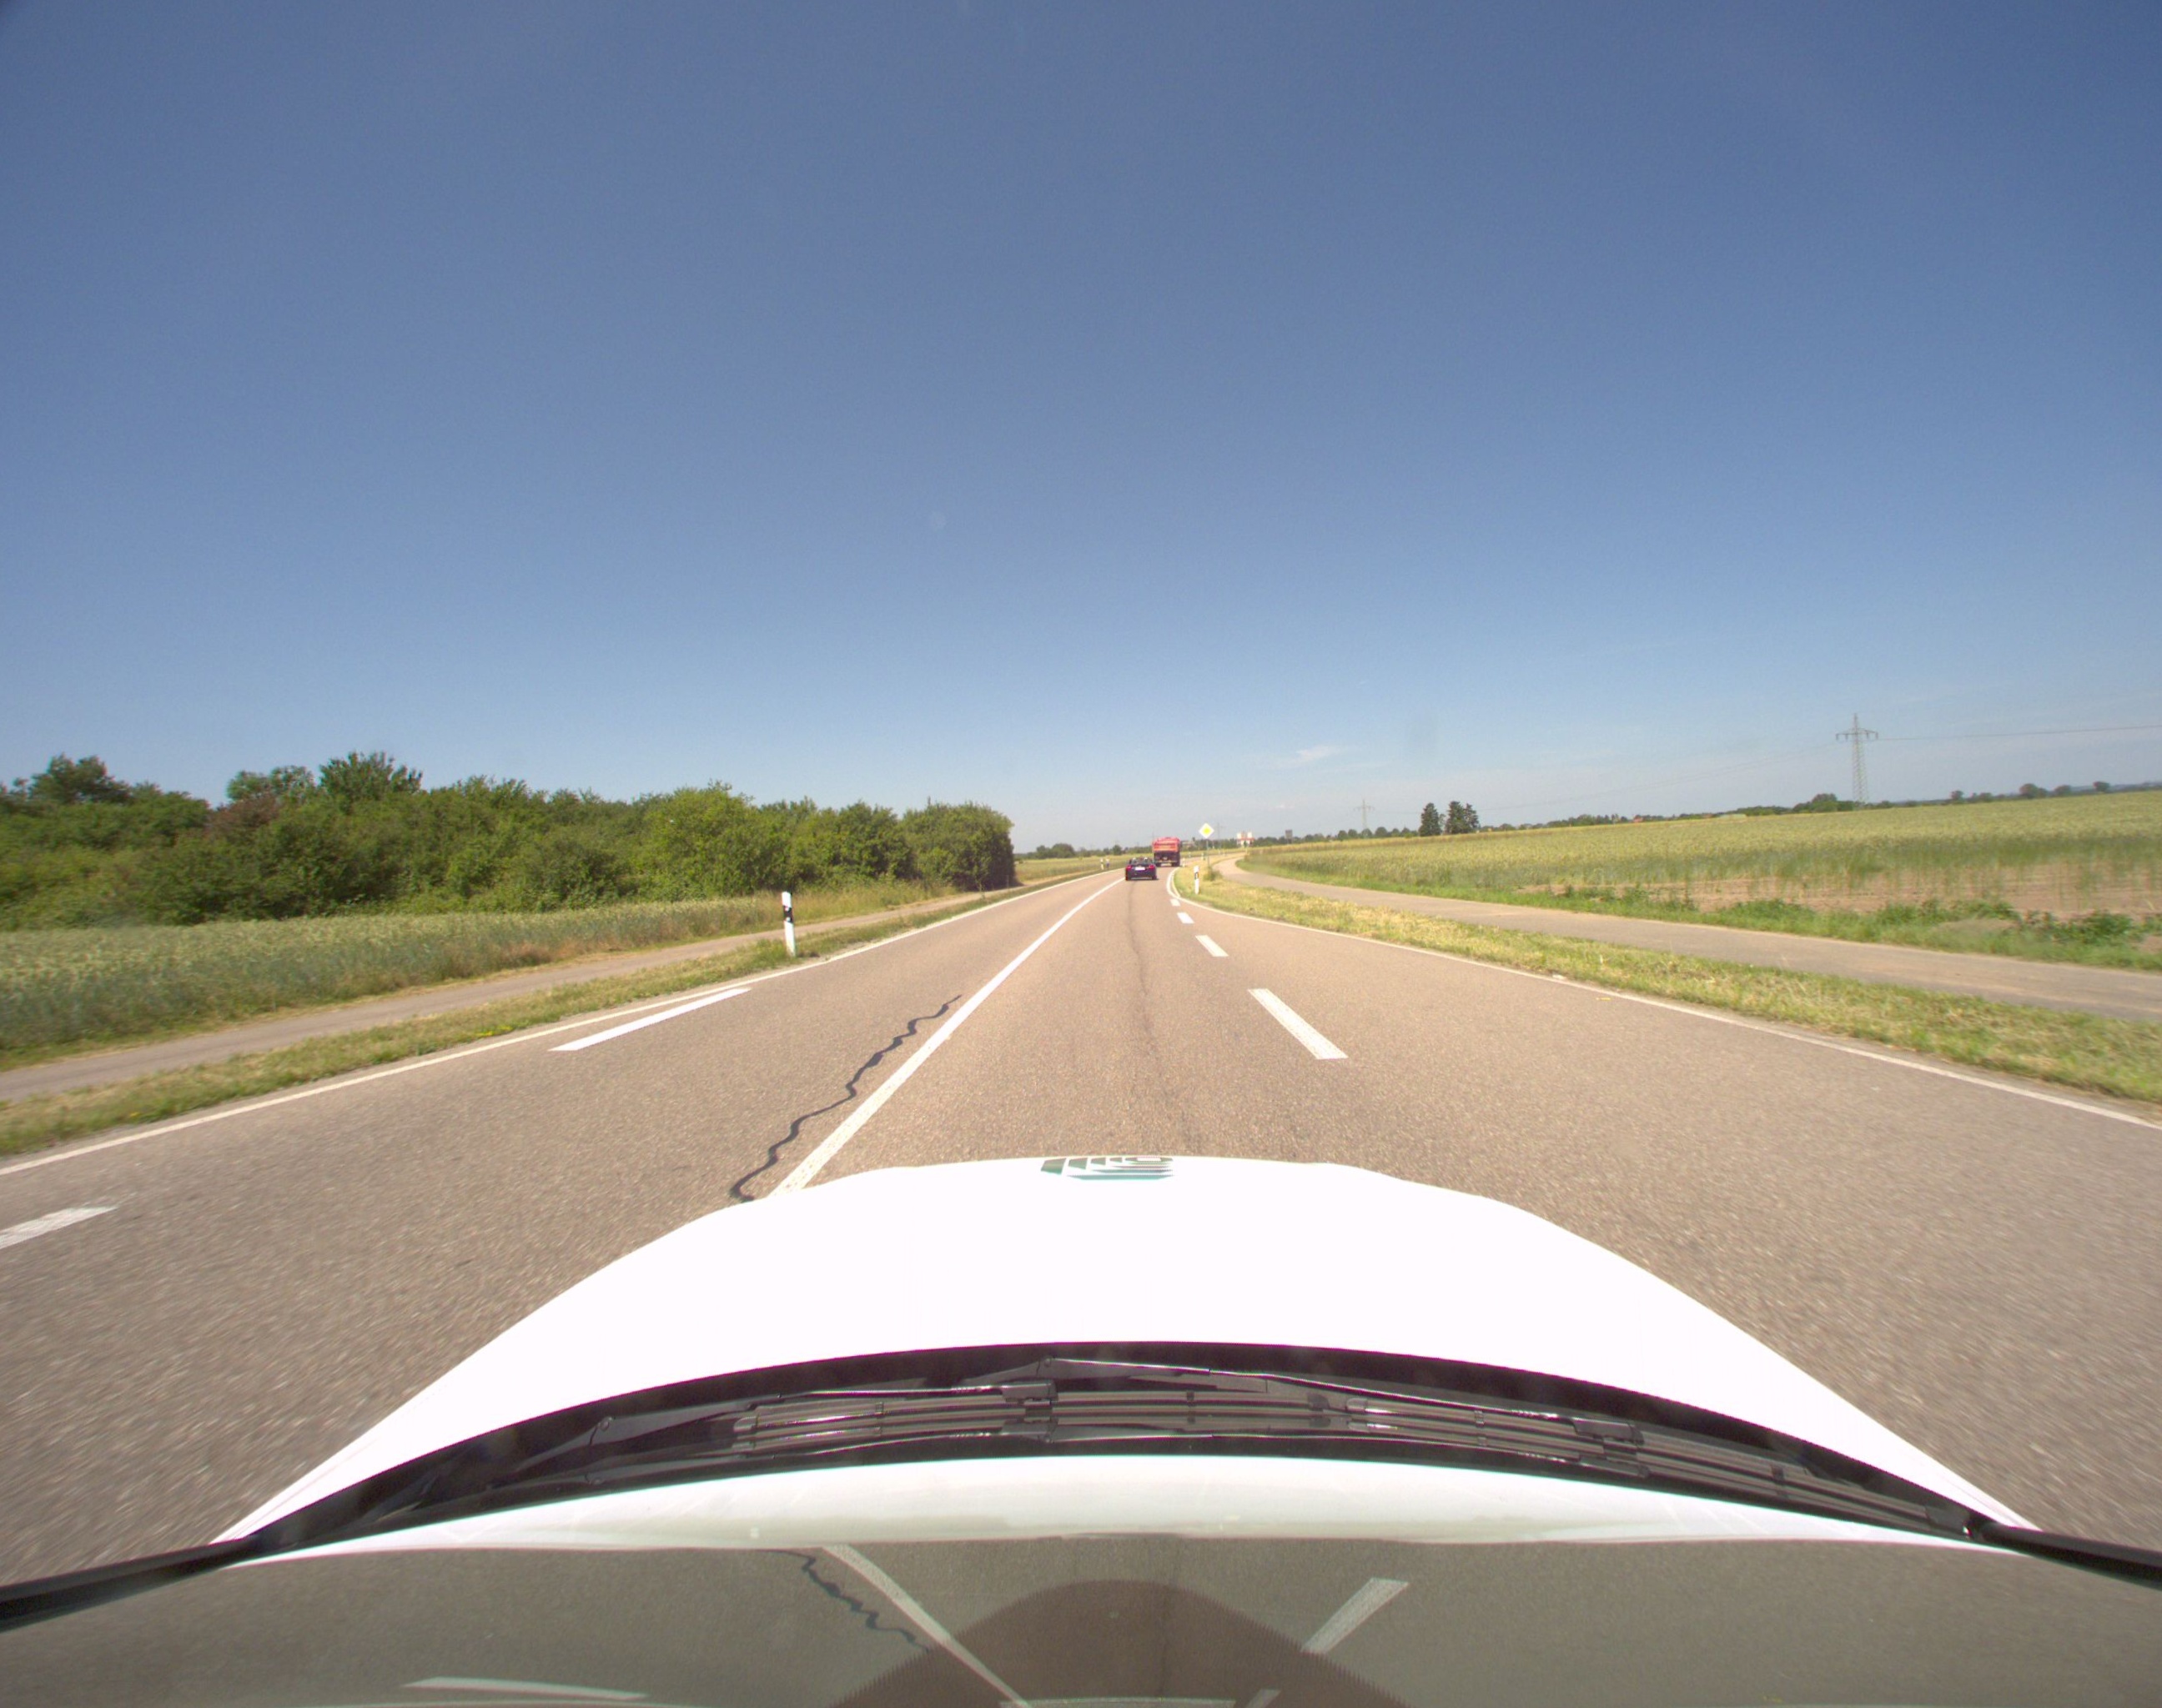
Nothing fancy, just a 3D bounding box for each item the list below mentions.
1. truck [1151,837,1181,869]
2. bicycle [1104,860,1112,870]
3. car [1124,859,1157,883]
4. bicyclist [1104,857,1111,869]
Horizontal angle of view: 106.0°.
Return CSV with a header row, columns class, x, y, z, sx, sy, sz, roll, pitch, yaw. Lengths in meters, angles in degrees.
class,x,y,z,sx,sy,sz,roll,pitch,yaw
truck,8.888,-0.095,84.758,2.922,3.089,7.210,-2,-1,7
bicycle,3.523,1.459,107.215,0.690,1.176,1.969,-4,0,9
car,3.485,0.934,47.212,1.735,1.280,4.007,-2,0,6
bicyclist,3.492,1.182,107.131,0.660,1.438,0.825,-2,0,9
